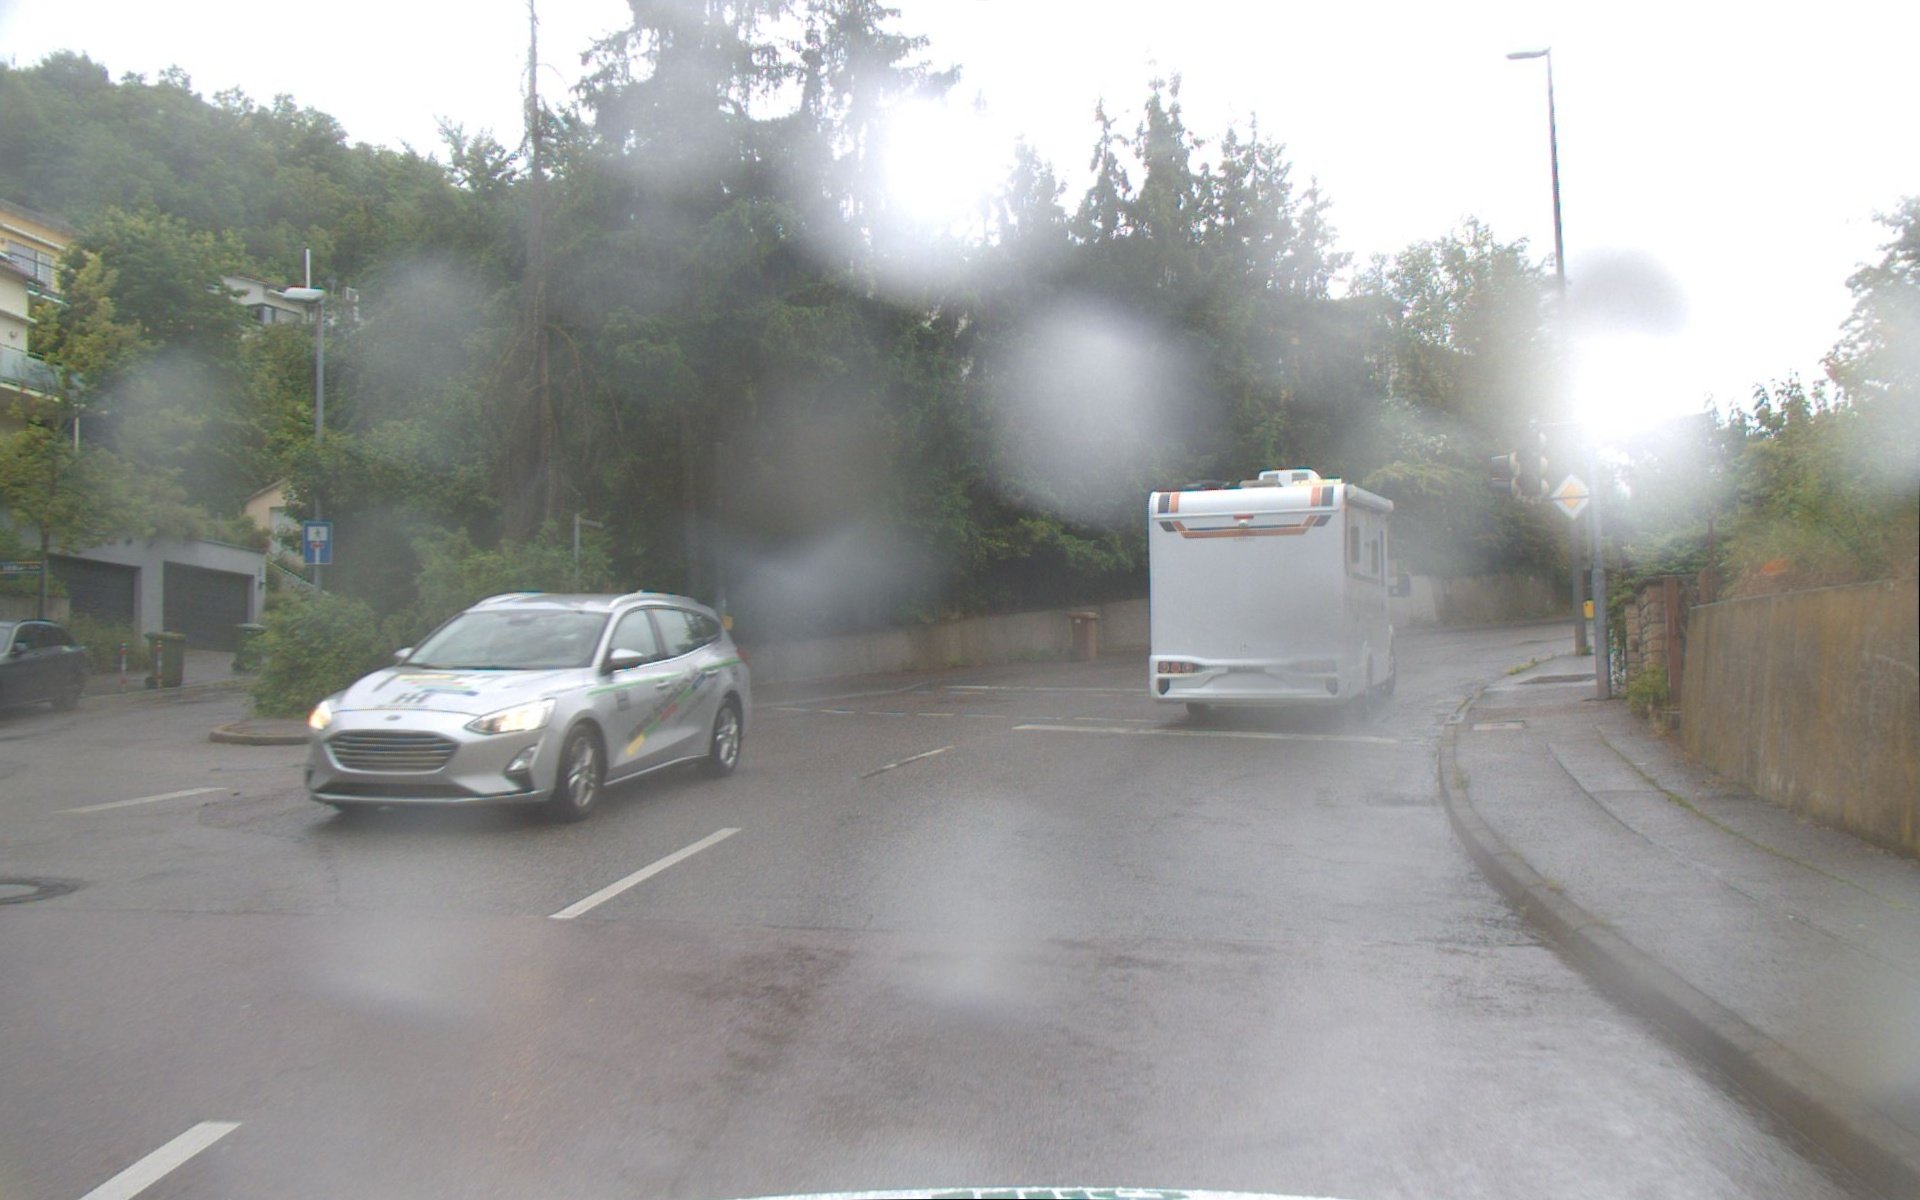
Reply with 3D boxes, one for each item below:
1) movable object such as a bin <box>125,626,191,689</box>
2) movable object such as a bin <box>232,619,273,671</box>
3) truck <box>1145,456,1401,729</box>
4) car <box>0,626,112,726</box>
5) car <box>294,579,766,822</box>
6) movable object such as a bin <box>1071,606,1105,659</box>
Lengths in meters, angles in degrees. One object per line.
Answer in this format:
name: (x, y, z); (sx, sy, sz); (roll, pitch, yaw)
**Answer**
movable object such as a bin: (-15.970, 1.143, 32.960); (0.835, 1.219, 0.932); (1, -1, 0)
movable object such as a bin: (-16.909, 1.070, 39.552); (0.690, 1.244, 0.591); (1, -1, 3)
truck: (4.128, -0.111, 20.742); (2.462, 2.867, 6.205); (0, 1, 17)
car: (-14.791, 1.121, 25.538); (1.567, 1.384, 4.440); (1, -1, -7)
car: (-2.885, 0.607, 12.136); (1.561, 1.438, 4.240); (1, 0, 13)
movable object such as a bin: (2.474, 0.630, 32.066); (0.491, 0.996, 0.489); (0, 1, 33)
